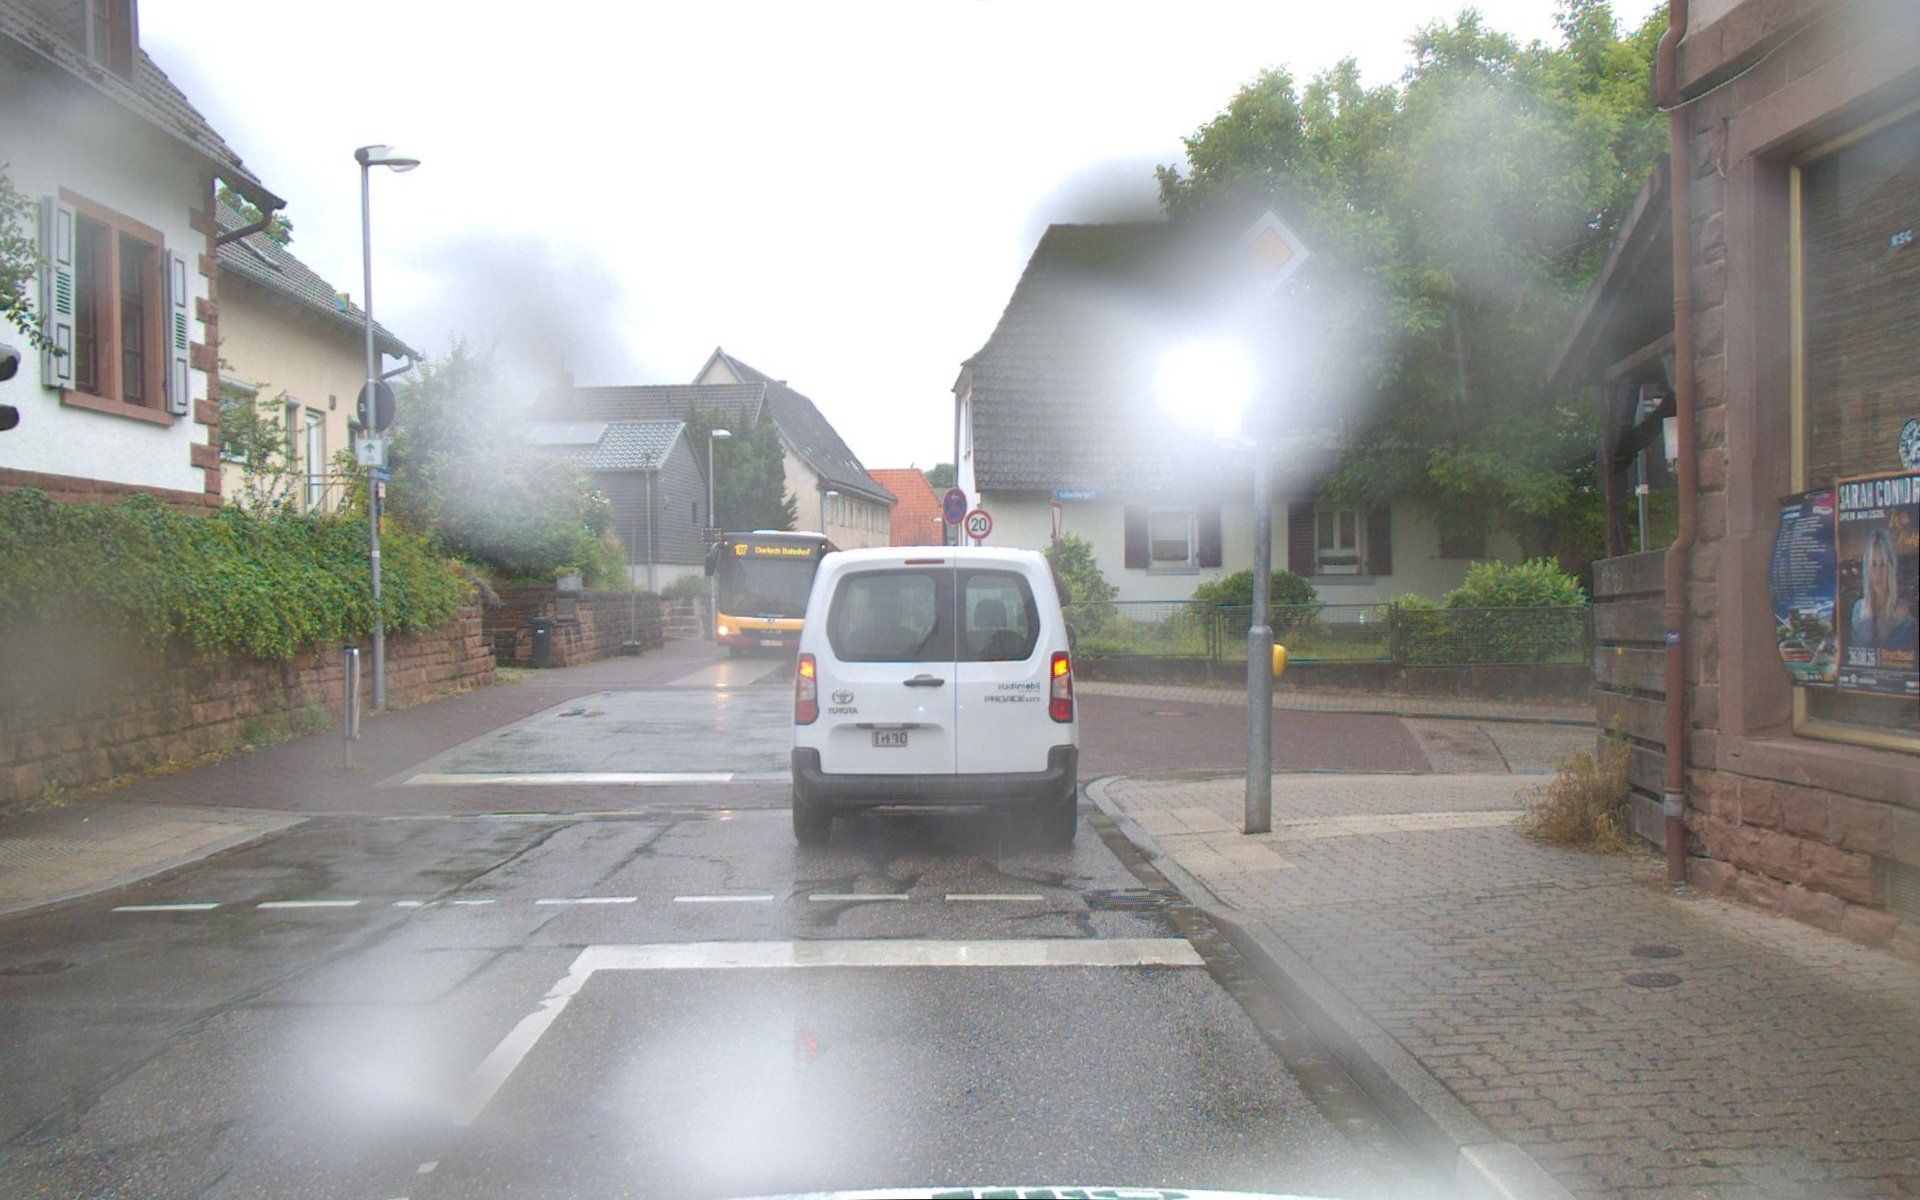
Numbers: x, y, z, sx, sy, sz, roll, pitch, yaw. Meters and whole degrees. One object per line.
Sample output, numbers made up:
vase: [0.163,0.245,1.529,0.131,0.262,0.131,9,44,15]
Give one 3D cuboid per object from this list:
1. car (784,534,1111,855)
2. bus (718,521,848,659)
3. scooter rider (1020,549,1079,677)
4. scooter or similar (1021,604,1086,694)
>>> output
car: [-0.139,0.536,11.404,1.856,1.825,3.812,1,0,-2]
bus: [-4.303,-0.410,42.534,2.596,3.051,12.188,0,2,-3]
scooter rider: [1.234,0.170,22.958,0.717,1.763,0.517,0,1,-10]
scooter or similar: [1.276,0.660,22.779,0.609,1.146,1.399,0,2,-9]
